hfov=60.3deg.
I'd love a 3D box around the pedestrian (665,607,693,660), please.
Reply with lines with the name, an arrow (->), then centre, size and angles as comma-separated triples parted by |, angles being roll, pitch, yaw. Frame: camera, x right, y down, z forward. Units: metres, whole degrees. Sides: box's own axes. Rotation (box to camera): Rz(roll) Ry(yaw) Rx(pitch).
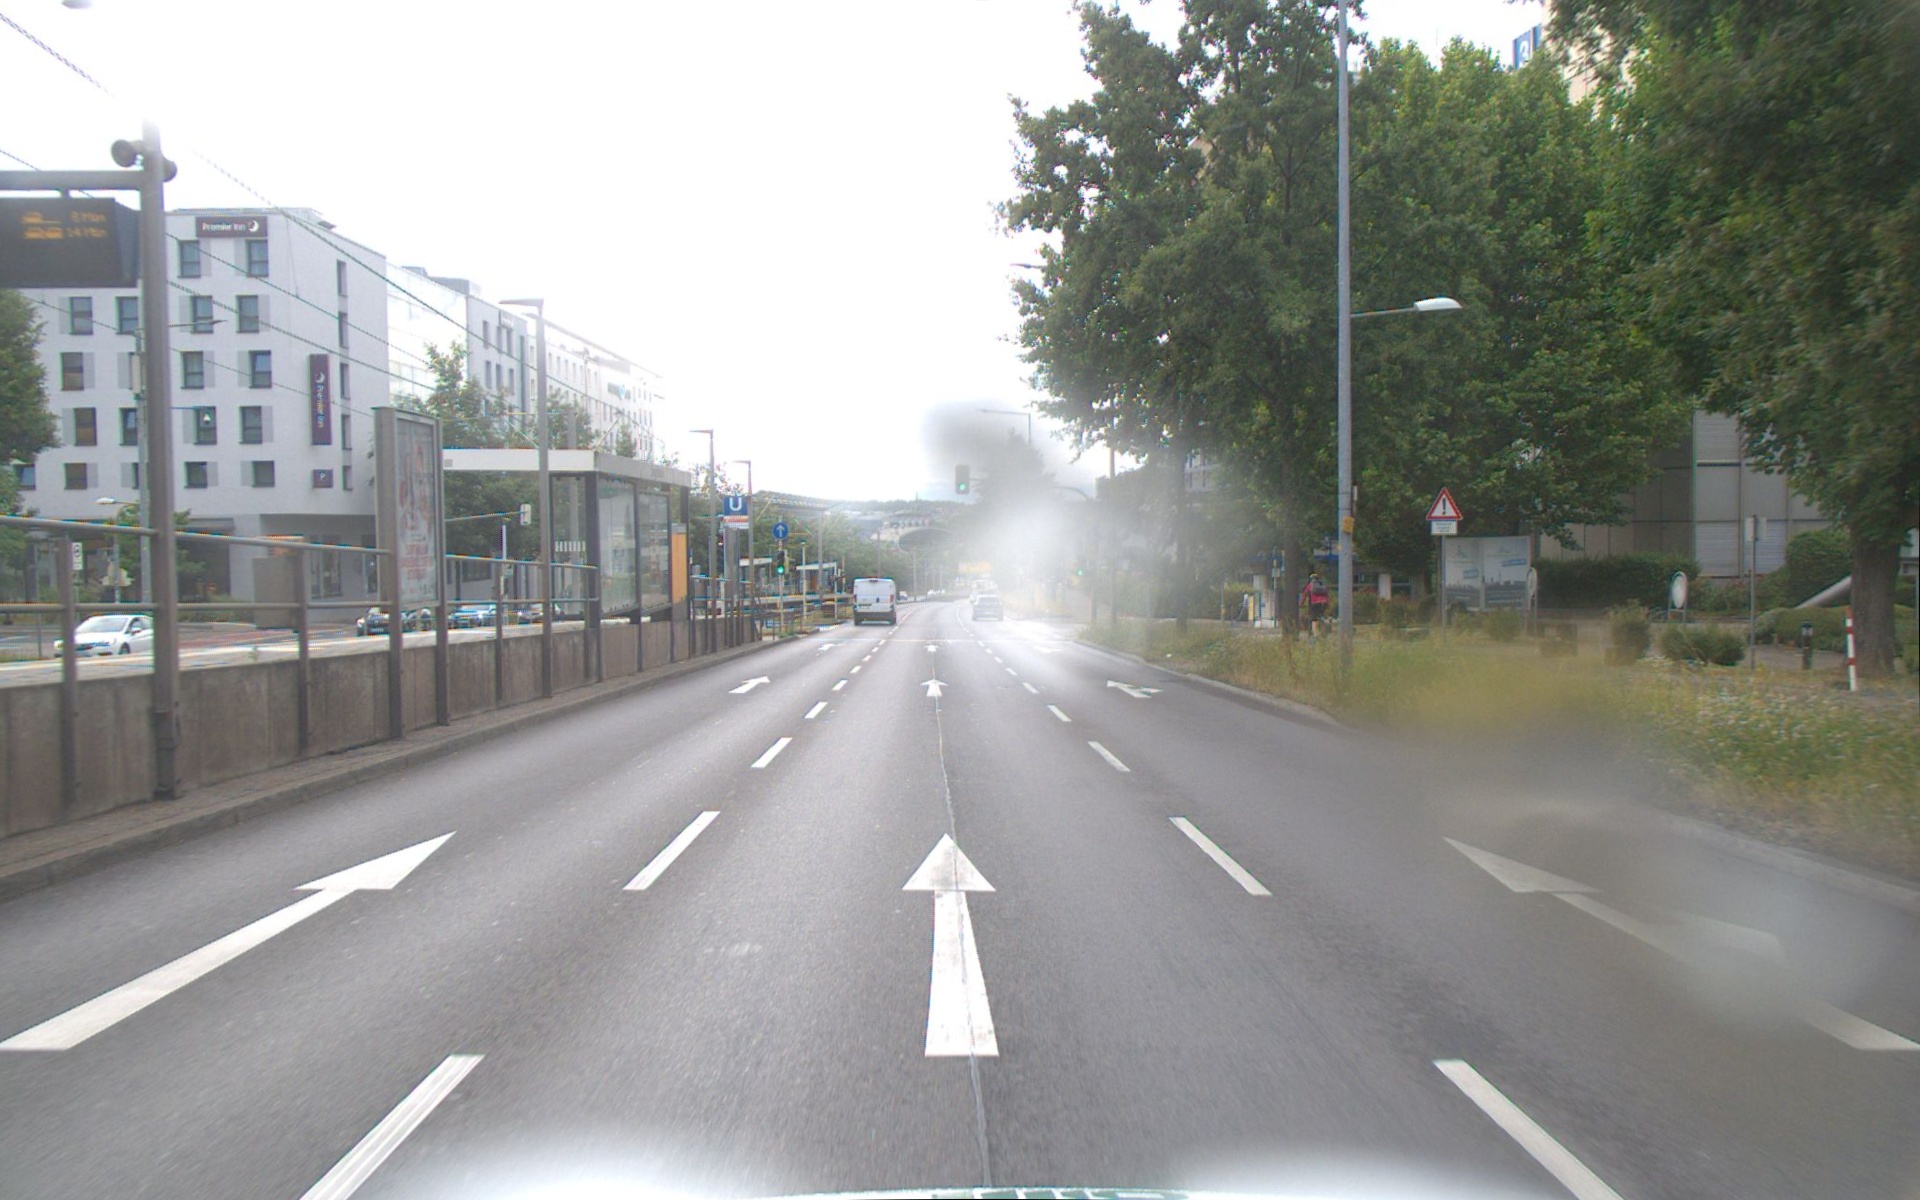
pedestrian -> -9.059, 1.064, 53.345 | 0.693, 1.679, 0.643 | 0, 0, -30

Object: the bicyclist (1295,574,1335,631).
bicyclist -> 8.399, 0.060, 39.173 | 0.642, 1.310, 1.219 | 2, 0, -1

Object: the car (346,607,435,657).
car -> -21.930, 1.192, 63.892 | 1.953, 1.805, 4.388 | 0, 0, -1

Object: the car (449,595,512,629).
car -> -22.118, 0.543, 76.434 | 1.816, 1.452, 4.386 | -2, 0, -3

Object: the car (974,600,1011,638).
car -> 1.876, 1.060, 94.440 | 1.952, 2.049, 3.935 | 1, 0, 2

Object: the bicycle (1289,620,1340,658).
bicycle -> 8.368, 0.907, 39.130 | 0.654, 0.823, 2.318 | 1, 0, -1

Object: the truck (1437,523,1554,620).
truck -> 14.903, -0.766, 46.268 | 1.712, 2.562, 3.996 | 1, 0, -4

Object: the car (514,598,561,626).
car -> -22.908, 0.613, 89.808 | 1.693, 1.448, 3.778 | 0, 0, -2

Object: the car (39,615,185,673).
car -> -24.422, 1.236, 47.842 | 1.954, 1.544, 4.704 | 1, 0, -3

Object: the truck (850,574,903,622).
truck -> -4.161, -0.083, 82.979 | 2.312, 2.301, 5.306 | 1, 0, 0

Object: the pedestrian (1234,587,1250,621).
pedestrian -> 14.273, 0.203, 83.686 | 0.544, 1.681, 0.830 | 0, 0, -10

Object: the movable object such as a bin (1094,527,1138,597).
movable object such as a bin -> 13.451, -3.227, 143.556 | 3.222, 5.784, 8.766 | 1, 0, 2
